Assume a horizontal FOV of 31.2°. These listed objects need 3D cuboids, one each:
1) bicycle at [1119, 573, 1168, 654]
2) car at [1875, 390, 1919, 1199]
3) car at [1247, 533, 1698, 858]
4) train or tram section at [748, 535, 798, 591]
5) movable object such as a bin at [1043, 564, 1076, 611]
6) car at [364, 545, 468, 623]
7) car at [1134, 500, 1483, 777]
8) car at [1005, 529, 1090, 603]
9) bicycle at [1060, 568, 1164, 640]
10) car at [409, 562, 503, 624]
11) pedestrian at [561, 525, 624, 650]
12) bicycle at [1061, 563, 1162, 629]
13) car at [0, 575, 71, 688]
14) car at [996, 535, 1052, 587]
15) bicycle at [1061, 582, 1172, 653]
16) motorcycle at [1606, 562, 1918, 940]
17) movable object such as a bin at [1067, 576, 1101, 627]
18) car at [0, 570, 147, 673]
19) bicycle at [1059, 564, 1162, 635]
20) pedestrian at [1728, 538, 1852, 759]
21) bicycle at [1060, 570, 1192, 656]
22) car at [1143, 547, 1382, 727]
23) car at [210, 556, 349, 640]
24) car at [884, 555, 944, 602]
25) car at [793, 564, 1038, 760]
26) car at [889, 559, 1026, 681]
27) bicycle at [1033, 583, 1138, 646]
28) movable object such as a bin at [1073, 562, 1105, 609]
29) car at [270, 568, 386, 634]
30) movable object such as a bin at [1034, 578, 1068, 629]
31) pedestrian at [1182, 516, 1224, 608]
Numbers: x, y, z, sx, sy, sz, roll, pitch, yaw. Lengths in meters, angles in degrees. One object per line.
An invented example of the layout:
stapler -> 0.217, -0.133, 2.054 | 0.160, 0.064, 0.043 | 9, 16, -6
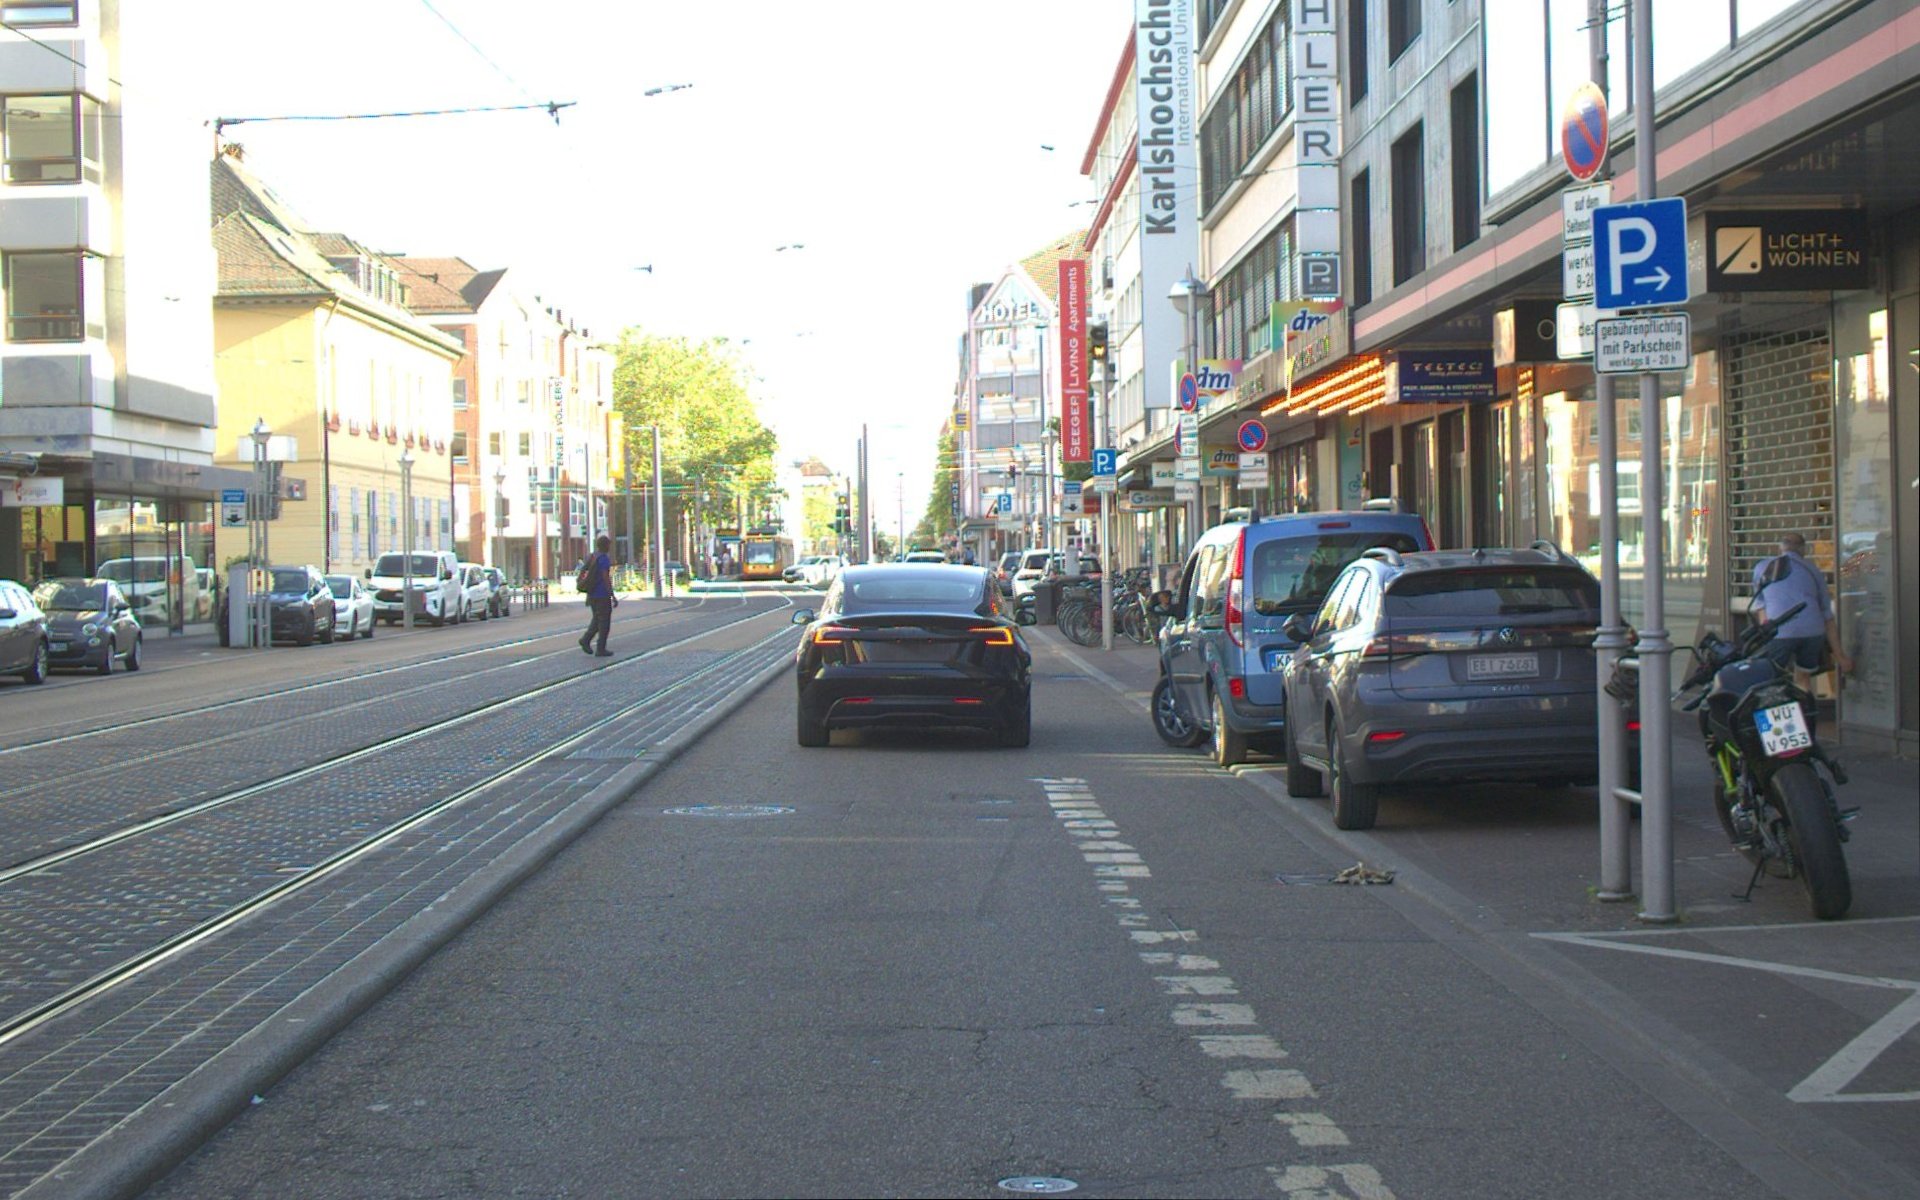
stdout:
bicycle -> 2.963, 0.215, 55.568 | 0.581, 1.253, 1.602 | -3, 1, -2
car -> 3.366, 0.457, 5.780 | 2.046, 1.904, 4.879 | -2, 1, -3
car -> 2.804, 0.467, 19.730 | 1.763, 1.572, 4.288 | -3, 1, -2
train or tram section -> -12.754, -2.533, 235.405 | 2.674, 3.703, 14.193 | 1, 1, 0
movable object such as a bin -> 2.198, -0.276, 76.016 | 0.686, 1.010, 0.508 | -2, 0, 2
car -> -14.257, -0.441, 90.370 | 1.993, 1.968, 5.097 | 1, 1, -1
car -> 2.529, 0.247, 26.024 | 1.815, 1.853, 4.551 | -2, 1, -4
car -> 2.196, -0.859, 87.249 | 1.849, 1.718, 5.193 | -3, 1, -1
bicycle -> 2.703, 0.069, 61.330 | 1.787, 1.213, 0.587 | -2, 1, -1
car -> -14.175, -0.227, 96.904 | 1.808, 1.680, 4.648 | 1, 1, 2
pedestrian -> -5.531, -0.185, 51.762 | 0.804, 1.831, 0.746 | -3, 1, -2
bicycle -> 2.783, -0.076, 63.338 | 1.787, 1.155, 0.669 | -2, 1, -1
car -> -13.940, 0.417, 48.063 | 1.737, 1.518, 4.852 | 1, 1, 0
car -> 2.114, -1.320, 114.947 | 1.745, 1.626, 3.649 | -2, 1, 0
bicycle -> 2.625, 0.289, 57.649 | 1.773, 1.127, 0.479 | -2, 1, -6
motorcycle -> 3.297, 0.568, 14.357 | 0.659, 1.427, 2.323 | -2, 1, -2
movable object such as a bin -> 2.712, 0.031, 75.221 | 0.690, 1.085, 0.666 | -2, 0, 3
car -> -13.868, 0.309, 53.804 | 1.600, 1.518, 3.590 | 1, 1, -3
bicycle -> 2.718, -0.010, 62.308 | 1.787, 1.213, 0.669 | -2, 1, -1
pedestrian -> 5.569, 0.315, 23.086 | 0.575, 1.434, 0.731 | -3, 0, -1
bicycle -> 2.751, 0.206, 56.856 | 2.035, 1.270, 0.525 | -4, 1, -10
car -> 2.756, 0.296, 32.188 | 1.721, 1.479, 4.416 | -3, 1, -1
car -> -14.079, -0.060, 71.362 | 1.978, 1.673, 4.655 | 1, 1, 0
car -> -1.557, -0.723, 114.205 | 1.783, 1.514, 4.218 | 1, 1, -3
car -> -0.391, 0.452, 27.942 | 1.849, 1.479, 3.787 | 0, 1, -2
car -> -0.022, 0.217, 43.646 | 1.653, 1.413, 4.000 | 1, 1, 0
bicycle -> 2.181, 0.250, 60.001 | 1.773, 1.028, 0.597 | -2, 1, -1
movable object such as a bin -> 2.842, -0.314, 75.819 | 0.658, 1.010, 0.636 | -2, 1, 2
car -> -14.160, -0.006, 77.236 | 1.888, 1.416, 4.657 | 1, 1, -2
movable object such as a bin -> 1.994, 0.070, 75.339 | 0.690, 1.085, 0.685 | -2, 0, 3
pedestrian -> 4.313, -0.674, 61.032 | 0.581, 1.580, 0.598 | -3, 1, -2
